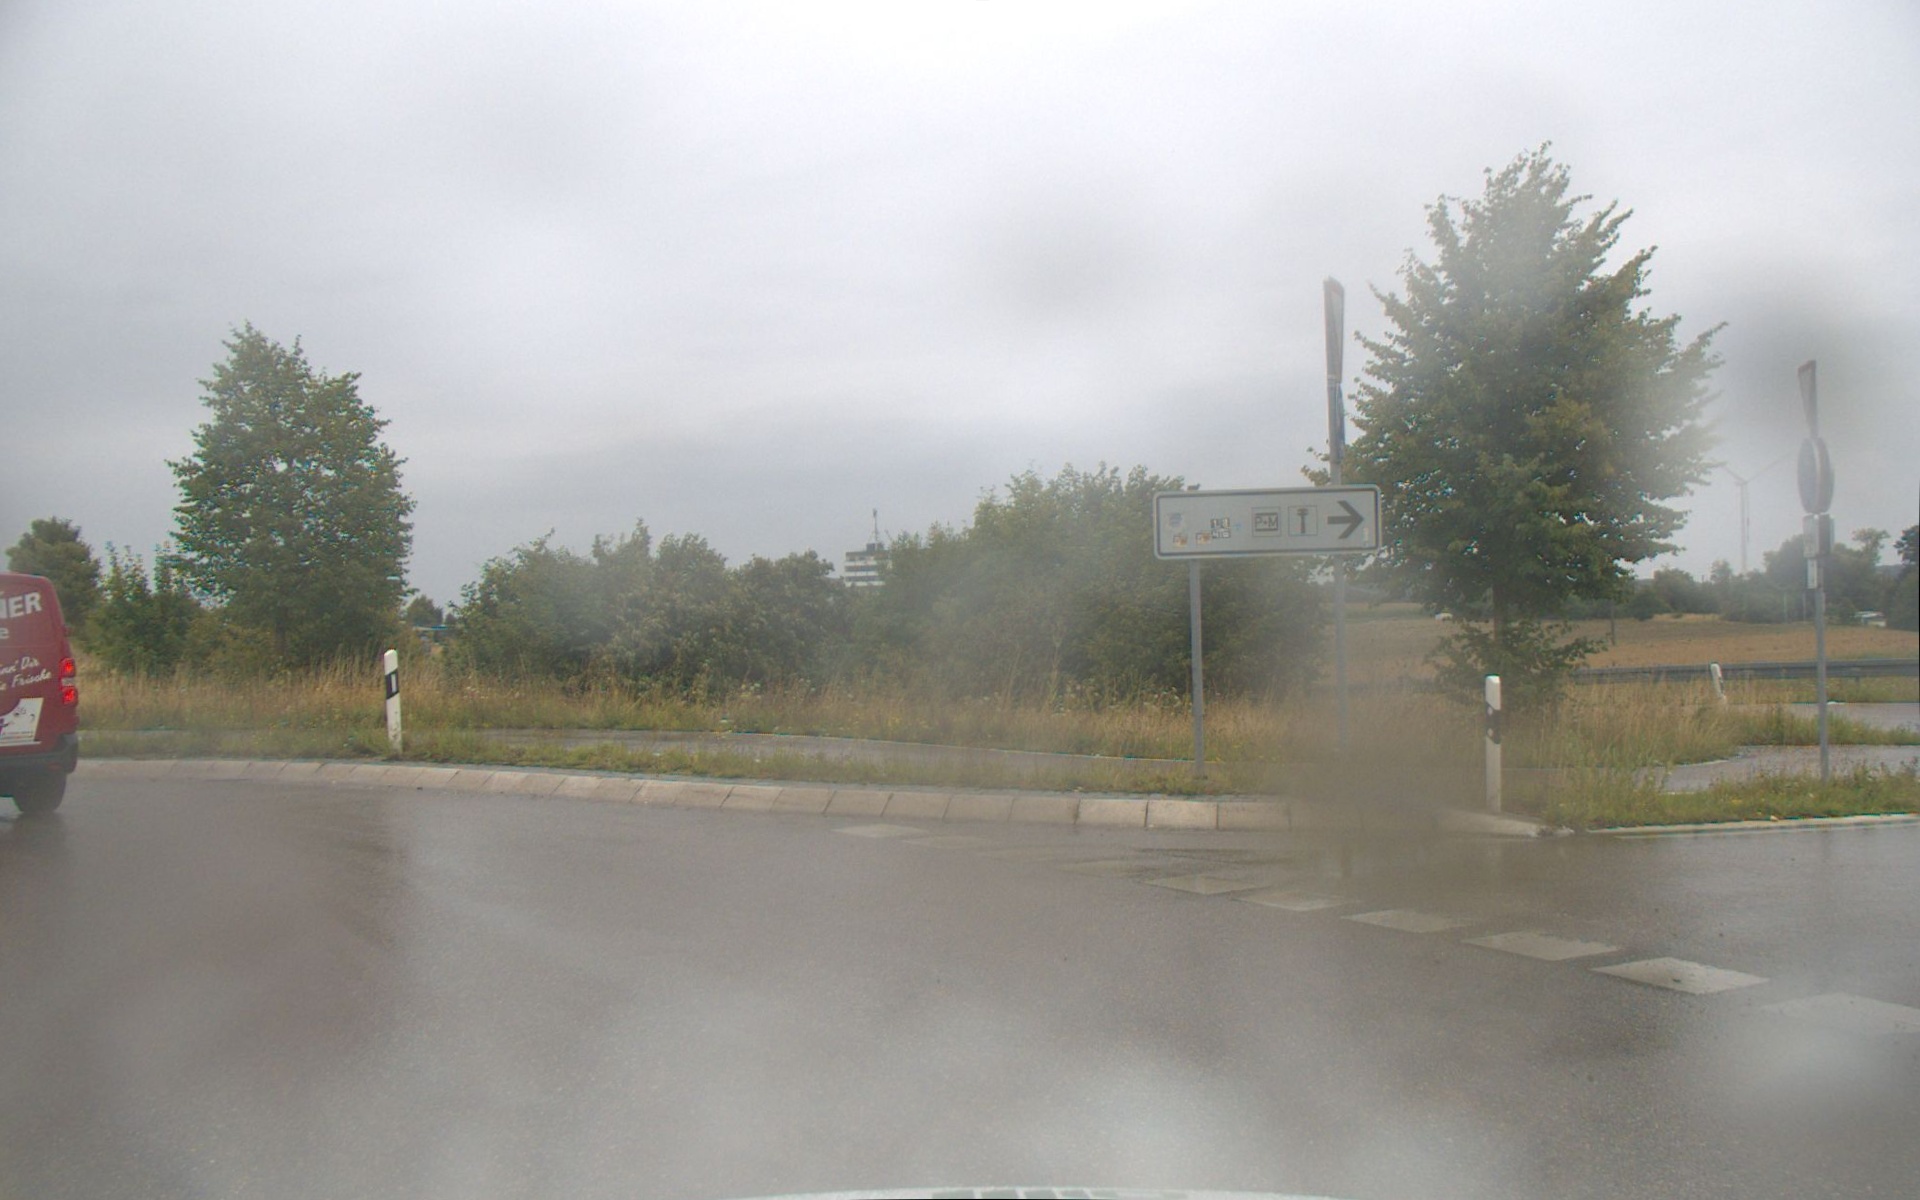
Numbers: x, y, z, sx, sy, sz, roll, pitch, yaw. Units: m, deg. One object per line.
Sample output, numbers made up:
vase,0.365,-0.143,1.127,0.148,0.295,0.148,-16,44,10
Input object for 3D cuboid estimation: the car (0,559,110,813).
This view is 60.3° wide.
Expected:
car,-9.225,0.688,13.861,4.886,1.903,1.990,-1,1,40
